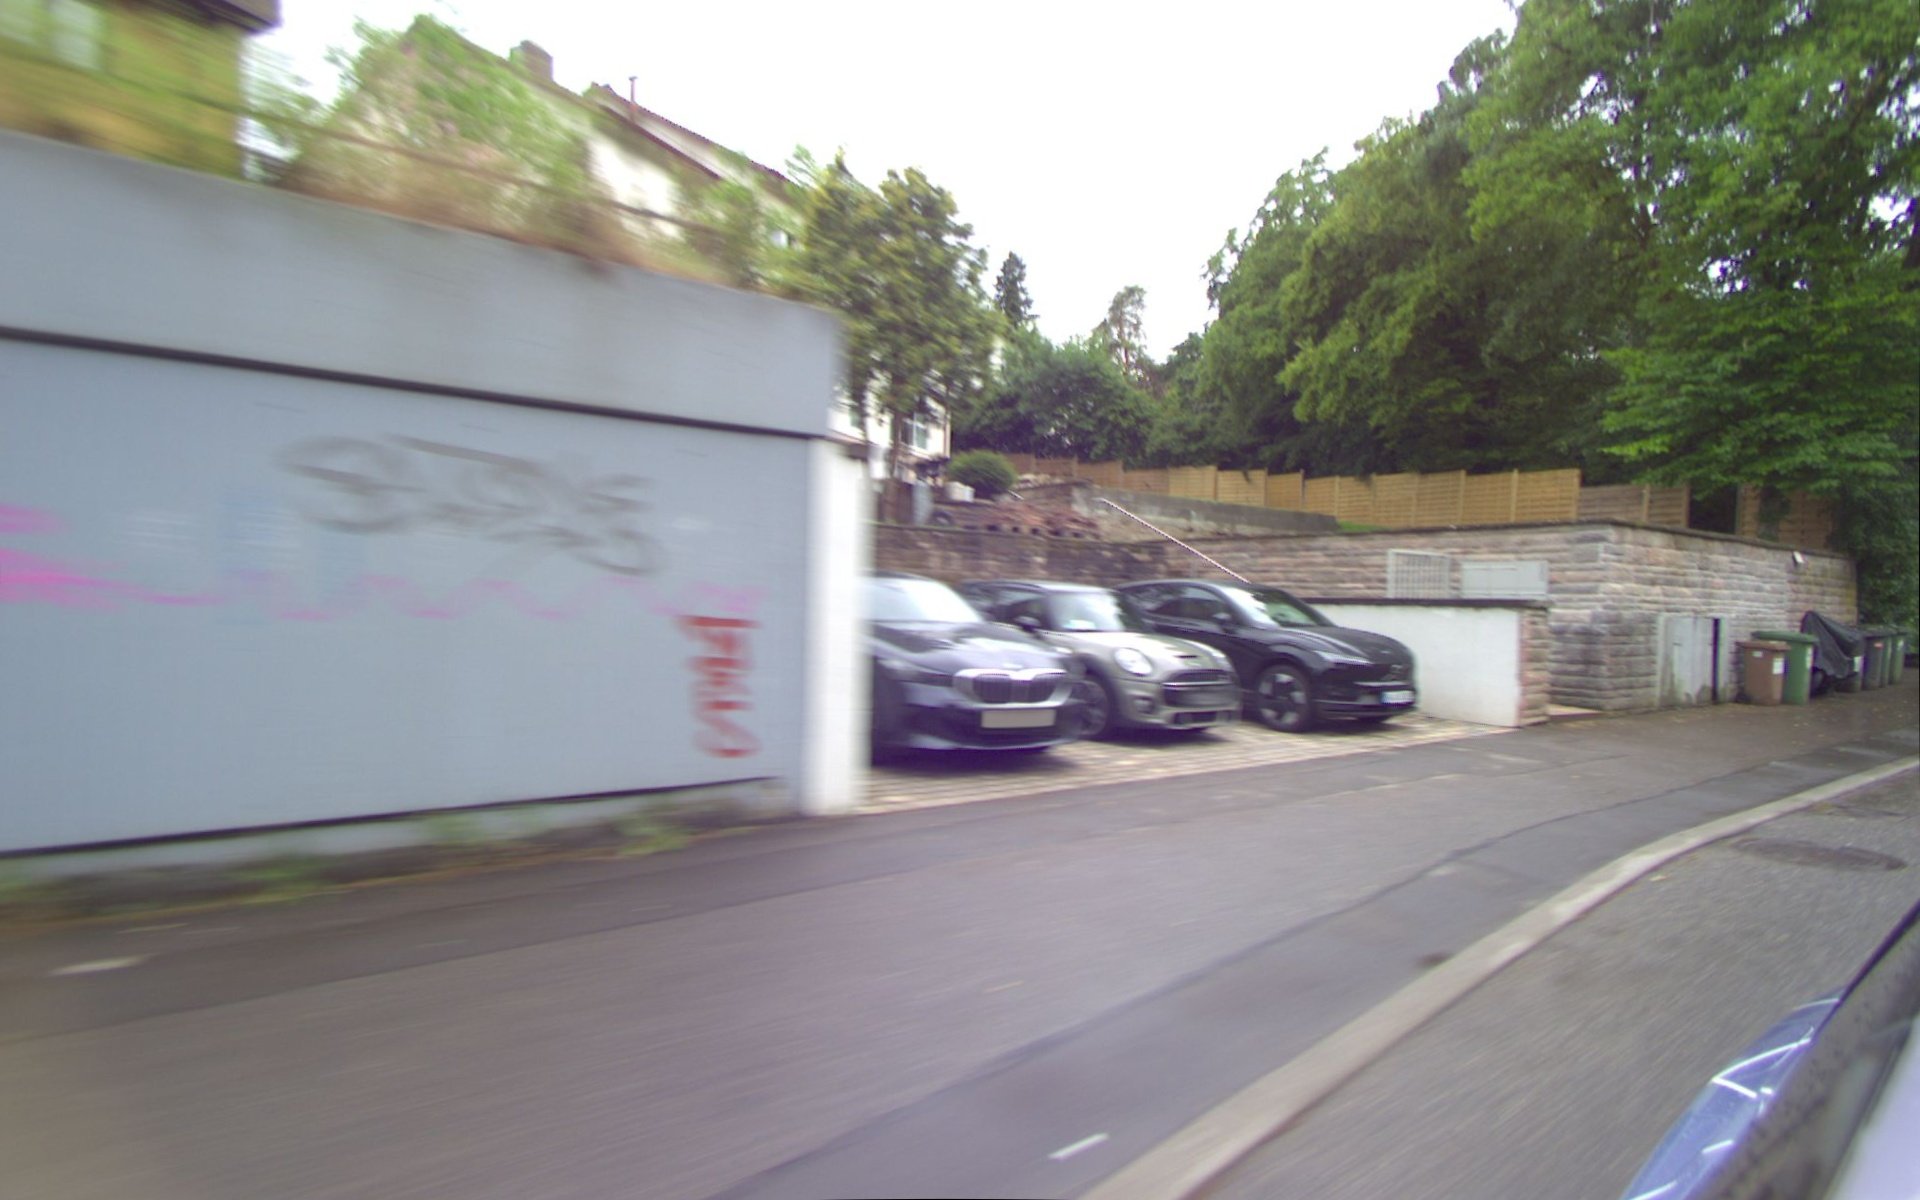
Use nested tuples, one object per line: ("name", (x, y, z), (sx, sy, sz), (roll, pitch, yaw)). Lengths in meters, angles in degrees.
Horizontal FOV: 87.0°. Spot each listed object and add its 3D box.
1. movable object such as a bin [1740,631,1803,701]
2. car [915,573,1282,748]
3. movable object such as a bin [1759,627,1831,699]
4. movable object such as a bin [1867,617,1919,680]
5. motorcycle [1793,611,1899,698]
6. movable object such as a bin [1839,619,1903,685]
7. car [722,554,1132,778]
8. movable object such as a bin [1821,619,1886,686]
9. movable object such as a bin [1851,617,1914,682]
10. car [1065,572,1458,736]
("movable object such as a bin", (11.717, 0.939, 14.611), (0.539, 0.949, 0.570), (0, -1, -35))
("car", (1.292, 0.485, 10.679), (1.802, 1.443, 3.647), (0, 2, -36))
("movable object such as a bin", (12.350, 0.917, 14.976), (0.647, 1.017, 0.667), (0, -1, -35))
("movable object such as a bin", (16.781, 0.852, 18.115), (0.688, 1.081, 0.667), (0, -1, -35))
("motorcycle", (13.758, 0.807, 15.694), (1.975, 1.260, 0.778), (0, -1, -35))
("movable object such as a bin", (15.517, 0.866, 17.238), (0.647, 1.081, 0.667), (0, -1, -35))
("car", (-0.549, 0.393, 9.143), (1.920, 1.534, 4.052), (2, 1, -31))
("movable object such as a bin", (14.844, 0.856, 16.810), (0.647, 1.081, 0.667), (0, -1, -35))
("movable object such as a bin", (16.107, 0.854, 17.672), (0.688, 1.081, 0.667), (0, -1, -35))
("car", (3.359, 0.478, 12.053), (1.859, 1.526, 4.233), (0, 2, -35))
